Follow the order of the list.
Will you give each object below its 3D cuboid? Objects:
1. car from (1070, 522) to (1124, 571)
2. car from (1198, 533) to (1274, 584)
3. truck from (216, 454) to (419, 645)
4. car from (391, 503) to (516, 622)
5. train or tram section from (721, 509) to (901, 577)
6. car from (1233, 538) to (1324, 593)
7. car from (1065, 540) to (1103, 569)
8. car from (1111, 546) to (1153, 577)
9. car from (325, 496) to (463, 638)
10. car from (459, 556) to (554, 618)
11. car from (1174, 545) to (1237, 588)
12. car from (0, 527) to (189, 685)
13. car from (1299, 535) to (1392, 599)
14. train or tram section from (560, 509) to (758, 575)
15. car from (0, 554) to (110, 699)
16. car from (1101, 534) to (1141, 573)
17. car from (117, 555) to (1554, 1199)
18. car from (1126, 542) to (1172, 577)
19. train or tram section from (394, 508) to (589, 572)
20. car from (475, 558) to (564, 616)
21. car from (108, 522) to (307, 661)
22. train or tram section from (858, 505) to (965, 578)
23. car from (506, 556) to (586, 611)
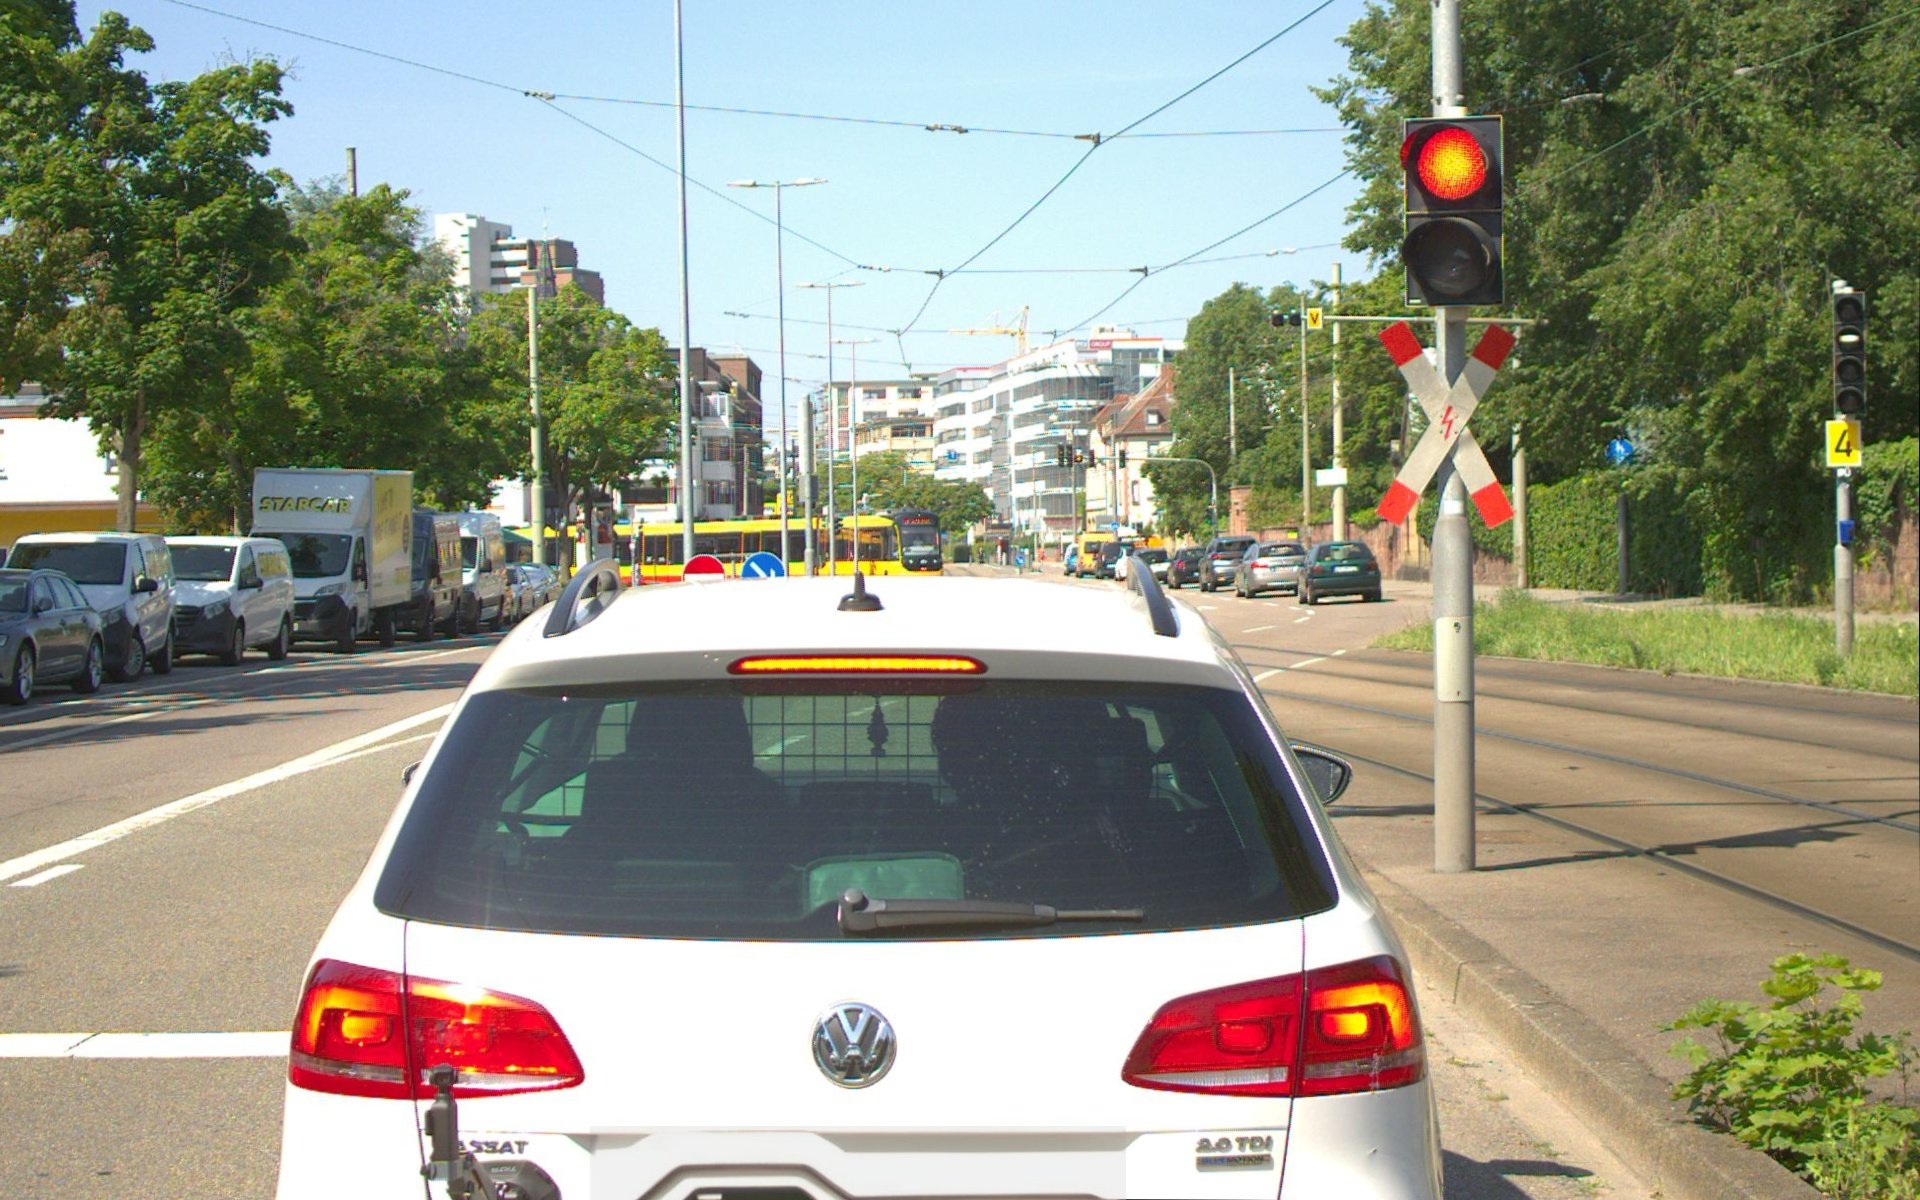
[{"bbox_3d":[7.273,-2.837,182.999,2.463,2.490,5.910,1,0,-1],"label":"car"},{"bbox_3d":[8.444,-1.283,105.416,1.861,1.508,3.913,1,1,-2],"label":"car"},{"bbox_3d":[-11.173,-0.901,60.303,2.356,3.112,6.892,-1,1,-1],"label":"truck"},{"bbox_3d":[-11.124,-0.846,75.923,1.843,2.486,5.857,-1,1,0],"label":"car"},{"bbox_3d":[-7.407,-2.815,168.912,2.302,3.241,10.802,1,0,-43],"label":"train or tram section"},{"bbox_3d":[8.458,-0.935,91.702,1.861,1.412,4.325,1,1,-2],"label":"car"},{"bbox_3d":[7.118,-2.626,197.777,1.993,1.590,4.000,1,0,0],"label":"car"},{"bbox_3d":[7.554,-1.686,151.384,1.581,1.341,3.454,1,0,-1],"label":"car"},{"bbox_3d":[-11.170,-0.676,68.116,1.843,2.659,5.003,-1,1,0],"label":"car"},{"bbox_3d":[-11.248,-0.334,85.460,1.843,1.428,4.038,-1,1,-1],"label":"car"},{"bbox_3d":[8.444,-1.156,118.365,1.745,1.403,3.913,1,1,-2],"label":"car"},{"bbox_3d":[-11.509,0.033,45.329,1.843,1.930,5.195,-1,1,-4],"label":"car"},{"bbox_3d":[8.685,-0.772,77.605,1.746,1.383,3.913,1,1,2],"label":"car"},{"bbox_3d":[-15.419,-2.987,175.498,10.792,3.241,2.304,1,0,32],"label":"train or tram section"},{"bbox_3d":[-11.004,0.275,38.698,1.843,1.511,4.197,-1,1,-1],"label":"car"},{"bbox_3d":[7.603,-2.187,162.538,1.691,1.806,3.454,1,0,-1],"label":"car"},{"bbox_3d":[-0.207,0.667,6.220,1.768,1.441,3.913,1,1,-1],"label":"car"},{"bbox_3d":[7.579,-1.605,137.911,1.581,1.341,3.454,1,0,-1],"label":"car"},{"bbox_3d":[-24.671,-3.172,180.758,10.788,3.241,2.305,1,0,27],"label":"train or tram section"},{"bbox_3d":[-11.680,-0.361,91.357,1.843,1.428,4.038,-1,1,-1],"label":"car"},{"bbox_3d":[-11.294,-0.166,51.946,1.843,1.954,5.134,-1,1,0],"label":"car"},{"bbox_3d":[-2.332,-2.680,160.437,2.300,3.241,11.278,1,0,-15],"label":"train or tram section"},{"bbox_3d":[-11.608,-0.474,96.602,1.780,1.428,4.038,-1,1,-1],"label":"car"}]
